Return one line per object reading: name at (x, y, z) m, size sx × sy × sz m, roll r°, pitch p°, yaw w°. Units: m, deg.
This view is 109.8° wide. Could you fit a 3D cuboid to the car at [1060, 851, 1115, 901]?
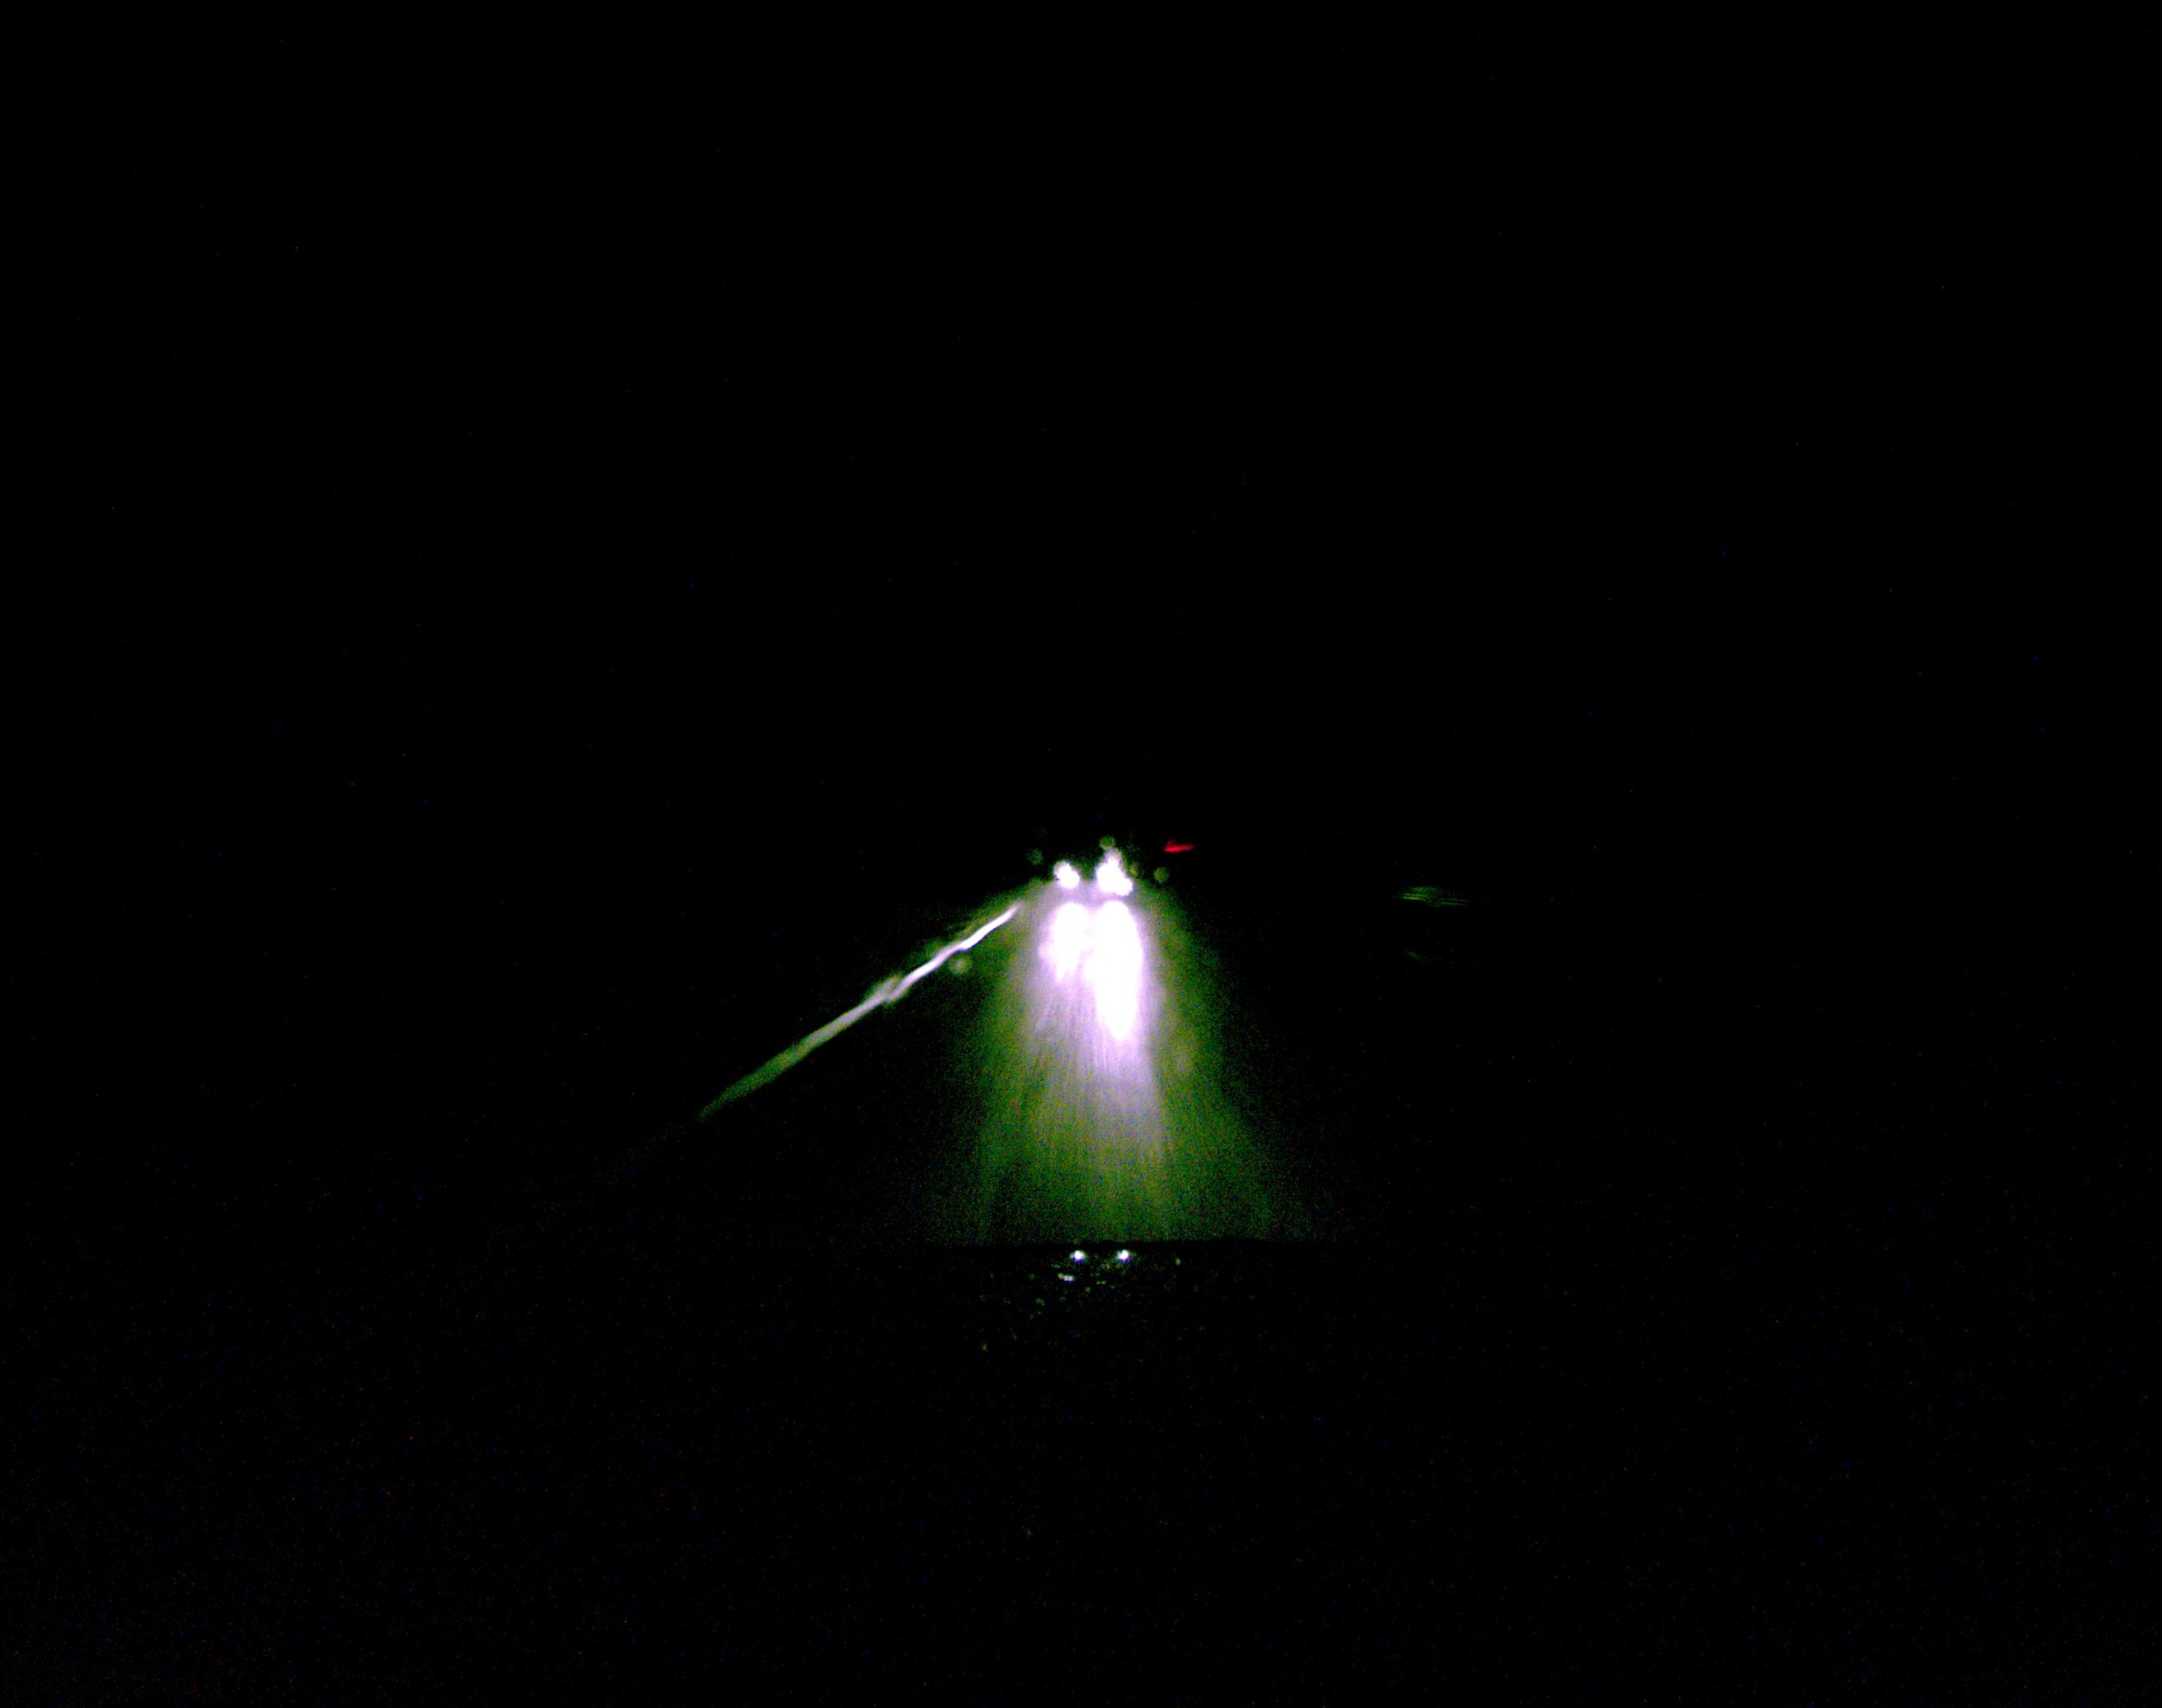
car at (0.313, 0.820, 28.130) m, size 1.793 × 1.593 × 4.002 m, roll -4°, pitch -2°, yaw 3°
